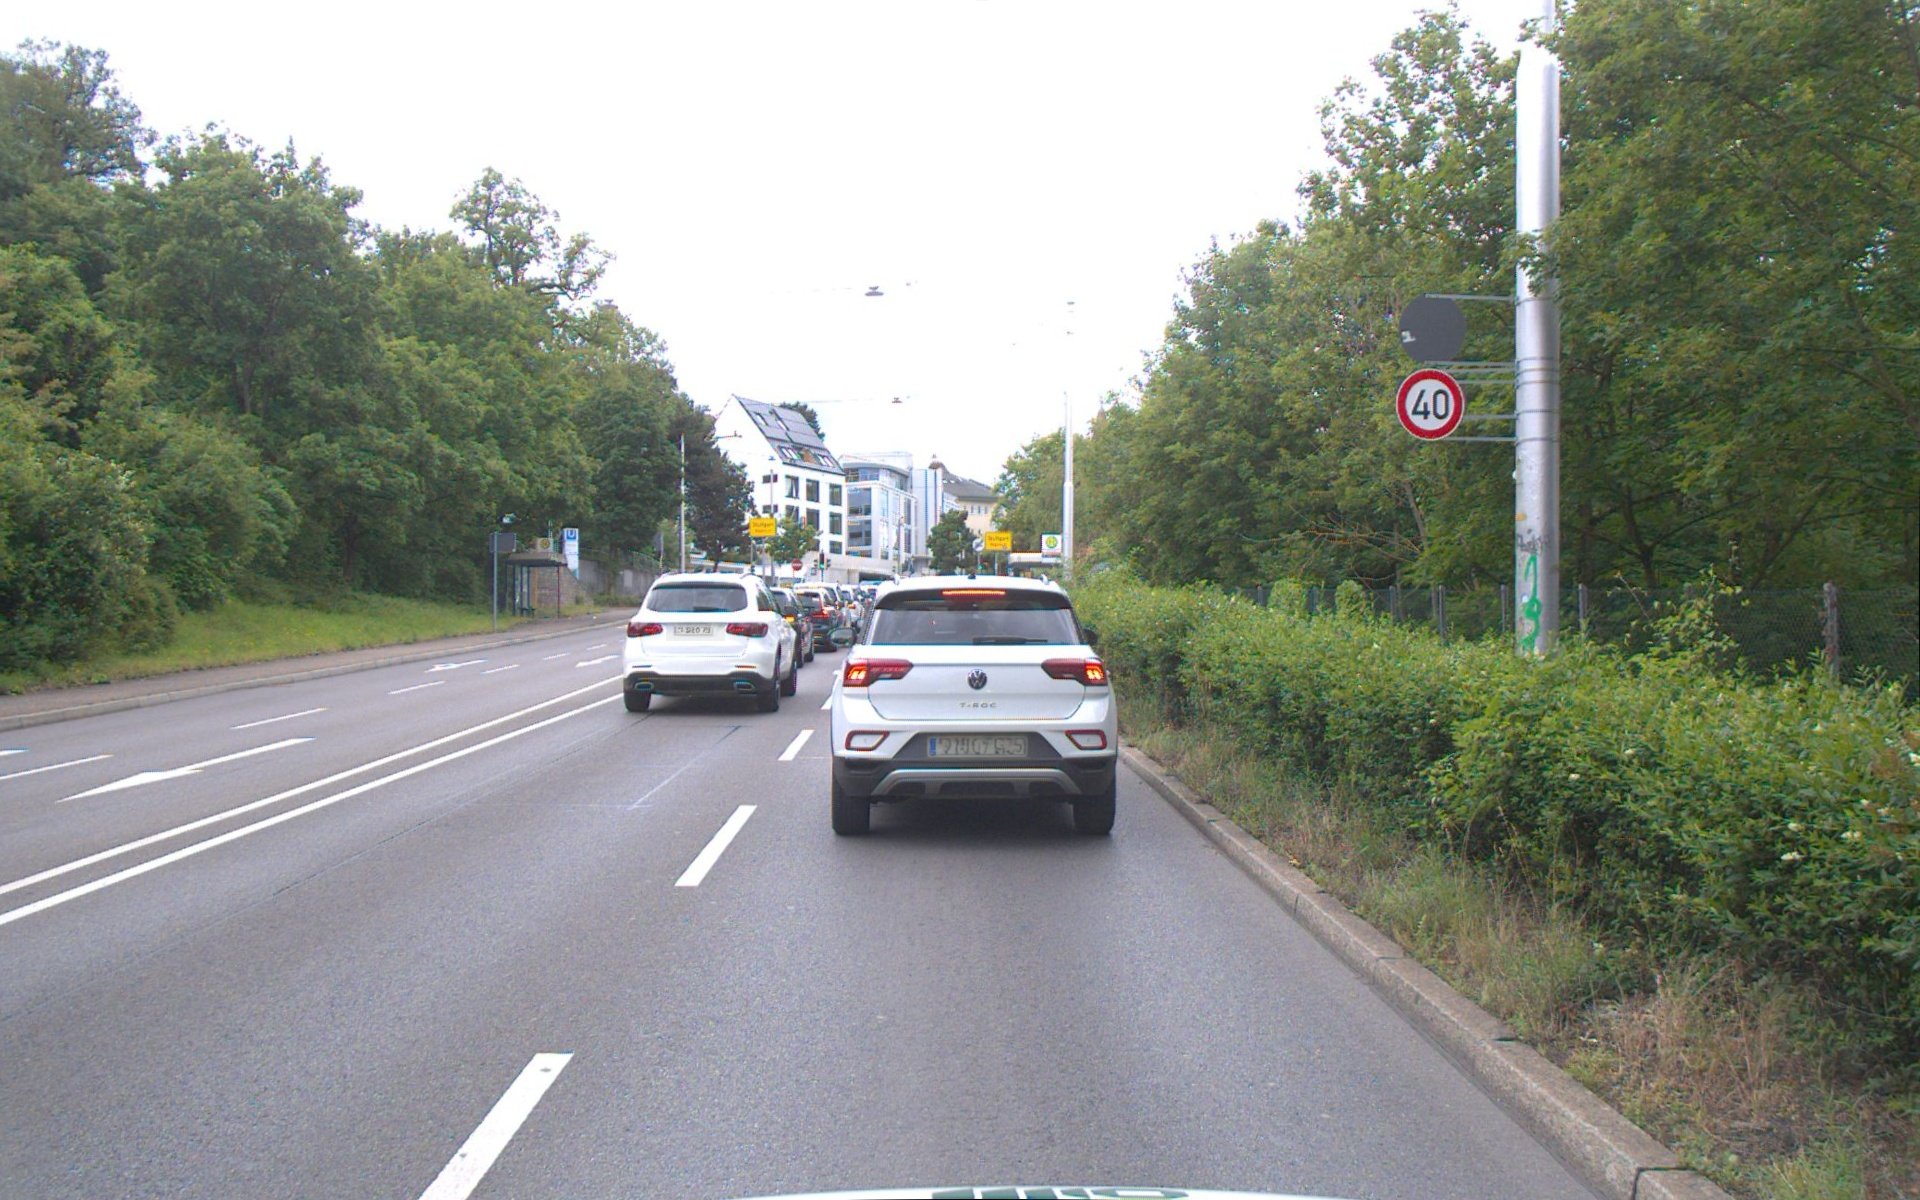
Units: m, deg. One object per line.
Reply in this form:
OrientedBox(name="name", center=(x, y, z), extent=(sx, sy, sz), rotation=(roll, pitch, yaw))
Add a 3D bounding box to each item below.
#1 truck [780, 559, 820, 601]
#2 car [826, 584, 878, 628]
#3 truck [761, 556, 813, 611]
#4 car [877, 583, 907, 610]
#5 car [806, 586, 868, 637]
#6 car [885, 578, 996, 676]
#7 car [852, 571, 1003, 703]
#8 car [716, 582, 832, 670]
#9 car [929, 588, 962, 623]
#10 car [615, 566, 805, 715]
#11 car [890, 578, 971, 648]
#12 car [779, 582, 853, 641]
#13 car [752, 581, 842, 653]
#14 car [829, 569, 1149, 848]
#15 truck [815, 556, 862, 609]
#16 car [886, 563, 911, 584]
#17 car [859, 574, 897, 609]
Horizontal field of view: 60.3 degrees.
OrientedBox(name="truck", center=(-12.314, -1.505, 127.923), extent=(2.246, 3.104, 6.980), rotation=(-1, 0, 1))
OrientedBox(name="car", center=(-4.032, 0.195, 62.261), extent=(1.792, 1.552, 3.999), rotation=(-1, 0, -2))
OrientedBox(name="truck", center=(-9.155, -0.868, 87.790), extent=(2.314, 2.753, 4.477), rotation=(-2, 1, -2))
OrientedBox(name="car", center=(-4.168, -0.229, 102.152), extent=(1.792, 1.552, 3.999), rotation=(-1, 0, -2))
OrientedBox(name="car", center=(-3.974, 0.337, 53.887), extent=(1.792, 1.552, 3.999), rotation=(-1, 0, -2))
OrientedBox(name="car", center=(-0.366, 0.422, 28.975), extent=(1.792, 1.552, 3.999), rotation=(-1, 0, -2))
OrientedBox(name="car", center=(-0.442, 0.434, 21.923), extent=(1.792, 1.552, 3.999), rotation=(-1, 0, -2))
OrientedBox(name="car", center=(-3.427, 0.444, 31.135), extent=(1.792, 1.523, 3.999), rotation=(-1, 0, -2))
OrientedBox(name="car", center=(-0.928, 0.306, 102.600), extent=(1.953, 2.049, 3.999), rotation=(-1, 0, -1))
OrientedBox(name="car", center=(-3.050, 0.449, 20.919), extent=(1.879, 1.698, 3.999), rotation=(0, 0, -2))
OrientedBox(name="car", center=(-0.714, 0.280, 39.337), extent=(1.792, 1.552, 3.999), rotation=(-1, 0, -2))
OrientedBox(name="car", center=(-3.961, 0.287, 46.070), extent=(1.792, 1.552, 3.999), rotation=(-1, 0, -2))
OrientedBox(name="car", center=(-3.777, 0.366, 38.825), extent=(1.792, 1.552, 3.999), rotation=(-1, 0, -2))
OrientedBox(name="car", center=(0.115, 0.593, 11.304), extent=(1.792, 1.552, 3.999), rotation=(0, 0, -2))
OrientedBox(name="truck", center=(-6.785, -0.997, 92.655), extent=(2.314, 2.830, 4.477), rotation=(-2, 1, -2))
OrientedBox(name="car", center=(-4.629, -1.979, 124.065), extent=(1.792, 1.552, 3.999), rotation=(-1, 0, -2))
OrientedBox(name="car", center=(-4.162, -0.448, 84.431), extent=(1.778, 1.685, 3.927), rotation=(-2, 1, -2))
